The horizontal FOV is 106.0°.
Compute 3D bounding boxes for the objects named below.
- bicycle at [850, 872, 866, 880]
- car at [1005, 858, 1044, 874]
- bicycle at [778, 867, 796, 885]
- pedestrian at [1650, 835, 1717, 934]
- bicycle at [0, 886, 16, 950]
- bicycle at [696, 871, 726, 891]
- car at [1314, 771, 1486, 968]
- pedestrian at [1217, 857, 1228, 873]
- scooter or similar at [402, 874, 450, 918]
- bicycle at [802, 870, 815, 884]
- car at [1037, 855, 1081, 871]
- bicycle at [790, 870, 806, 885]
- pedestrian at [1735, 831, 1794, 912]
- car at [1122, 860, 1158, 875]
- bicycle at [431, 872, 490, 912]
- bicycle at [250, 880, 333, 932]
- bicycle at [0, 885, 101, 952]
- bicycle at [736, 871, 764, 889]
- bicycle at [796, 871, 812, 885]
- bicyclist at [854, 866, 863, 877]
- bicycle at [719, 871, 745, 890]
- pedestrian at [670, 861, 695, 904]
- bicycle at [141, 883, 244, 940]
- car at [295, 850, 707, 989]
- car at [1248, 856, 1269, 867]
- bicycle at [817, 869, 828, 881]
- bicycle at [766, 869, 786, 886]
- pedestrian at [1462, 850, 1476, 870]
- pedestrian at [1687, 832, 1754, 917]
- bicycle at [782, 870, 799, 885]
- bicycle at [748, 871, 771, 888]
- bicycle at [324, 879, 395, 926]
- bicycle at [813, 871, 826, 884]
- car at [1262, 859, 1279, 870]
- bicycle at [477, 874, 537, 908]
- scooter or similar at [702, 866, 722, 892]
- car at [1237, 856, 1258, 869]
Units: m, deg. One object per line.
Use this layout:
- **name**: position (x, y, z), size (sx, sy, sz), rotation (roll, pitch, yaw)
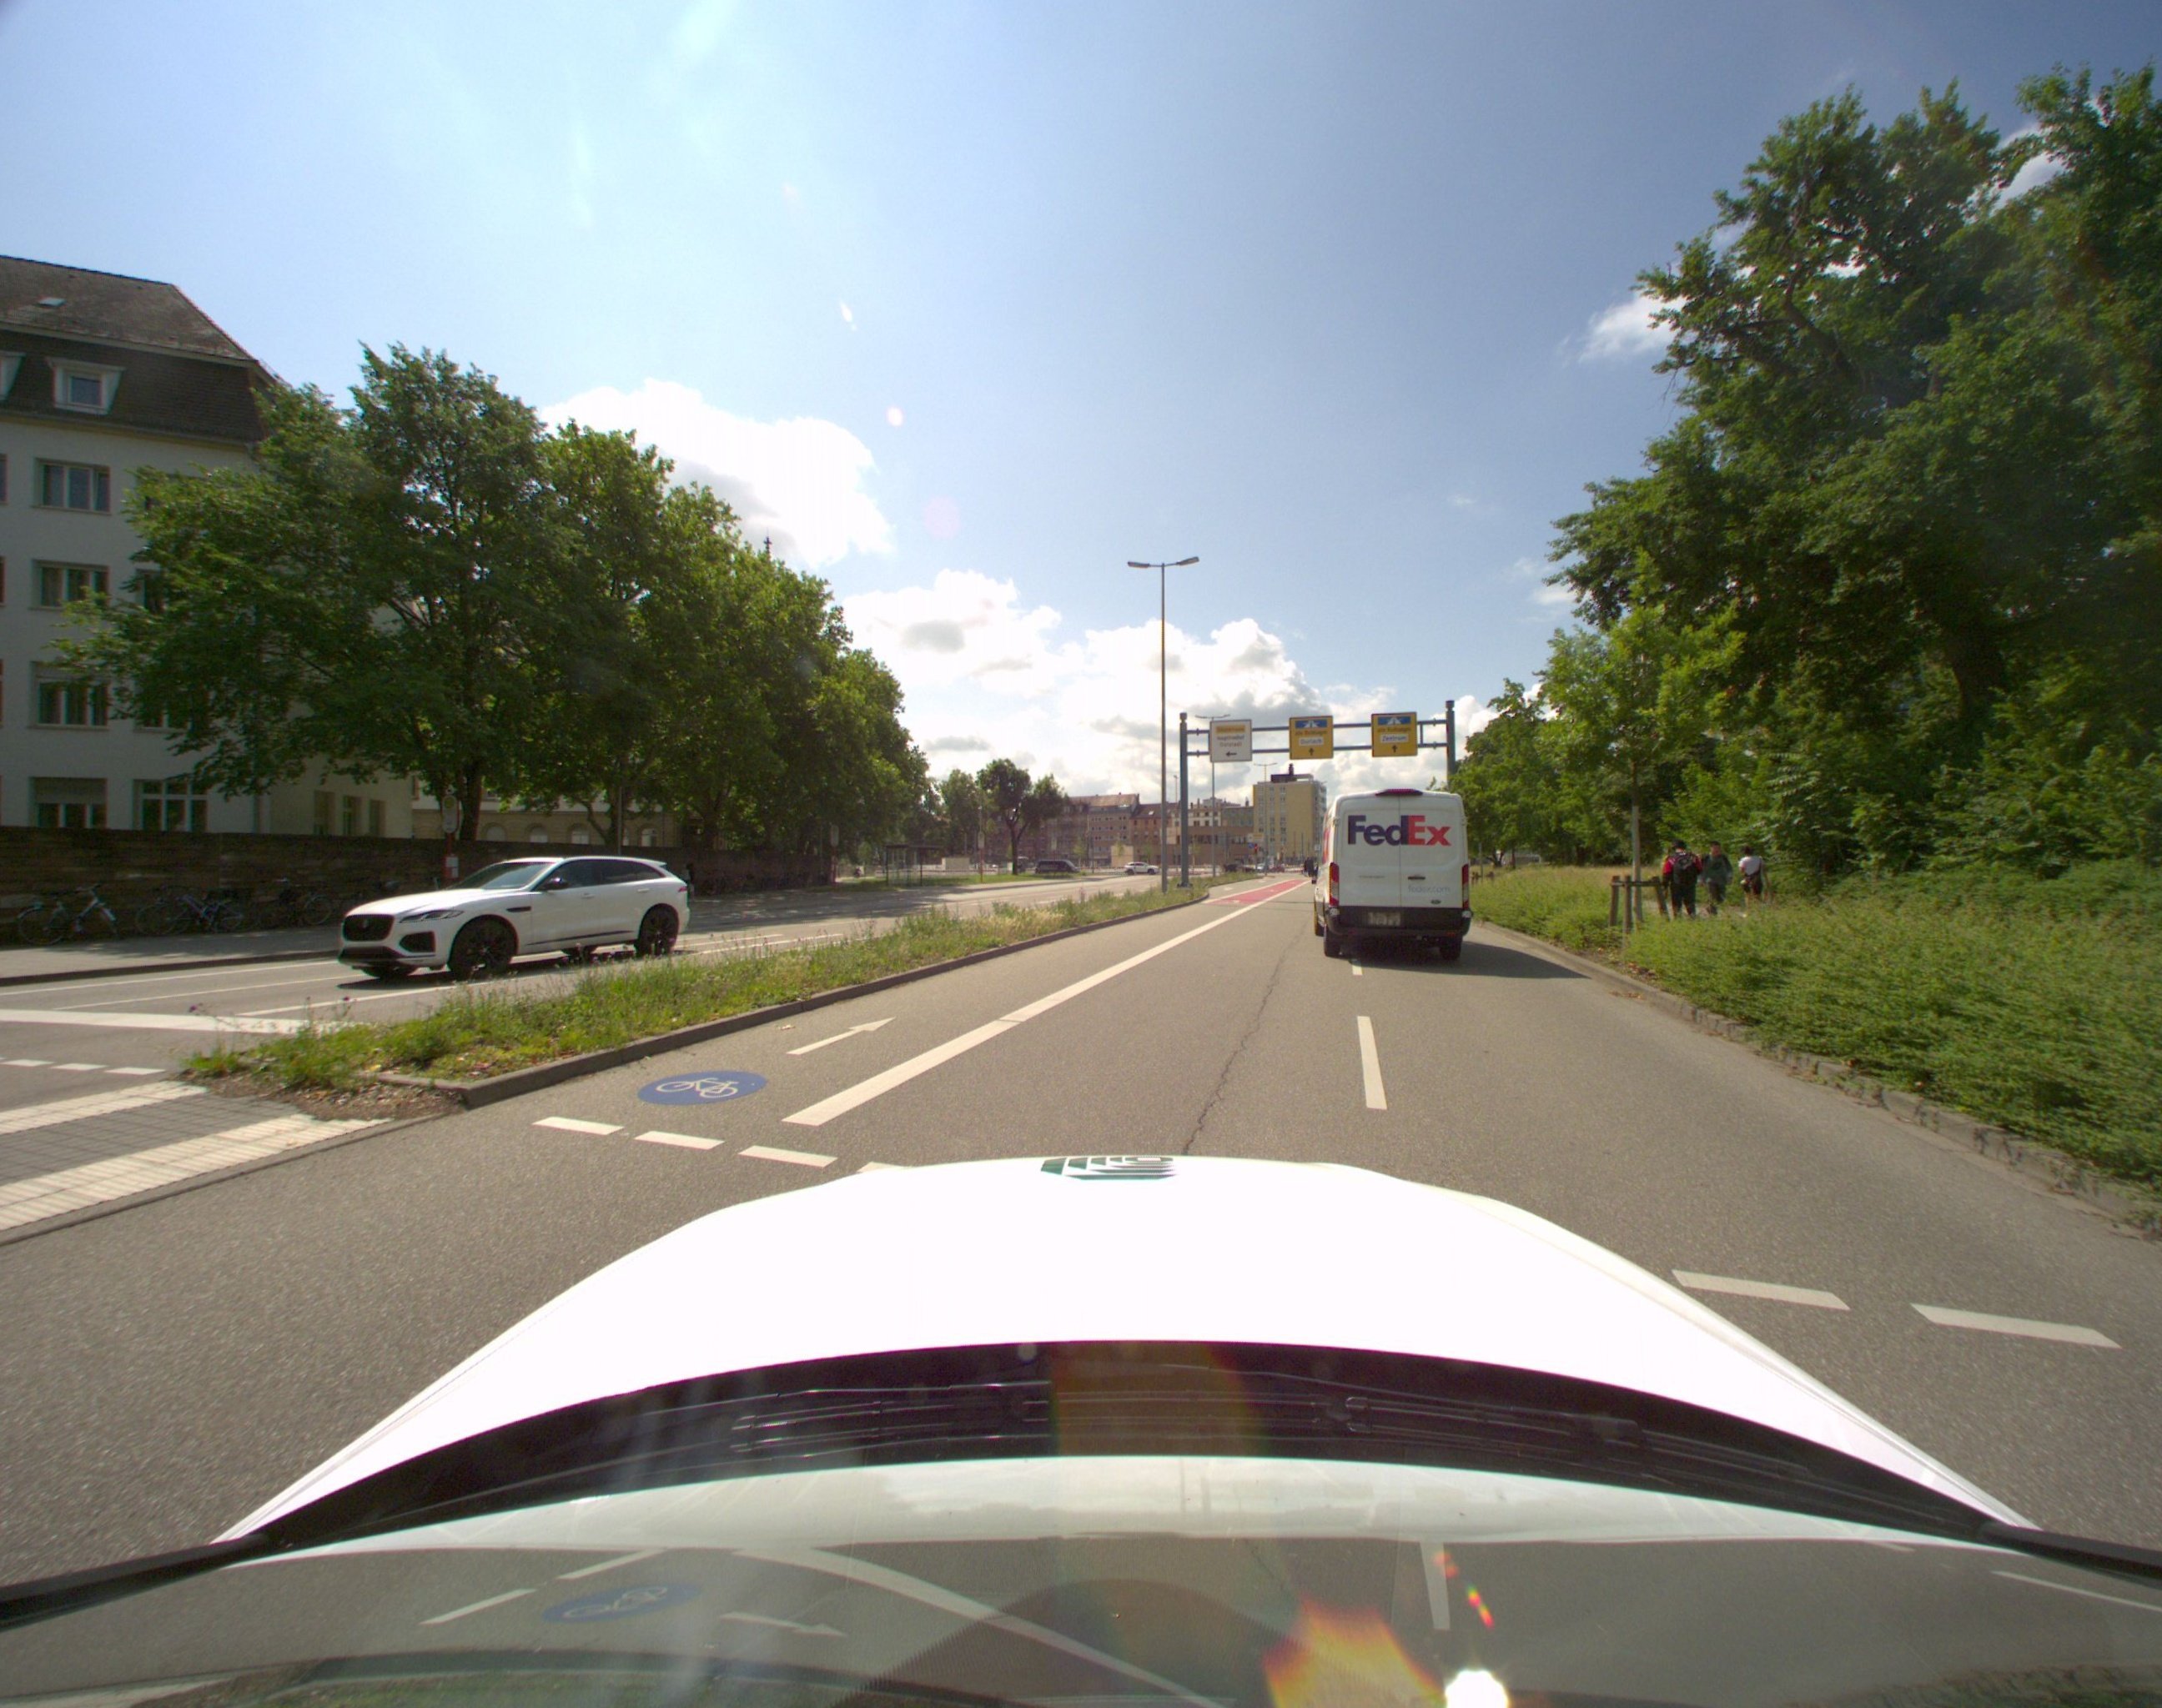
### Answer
- **bicycle**: position (-29.786, 2.892, 108.792), size (1.908, 1.030, 0.549), rotation (-1, 0, 9)
- **car**: position (-7.309, 1.576, 105.672), size (4.597, 2.014, 2.107), rotation (-1, -1, 12)
- **bicycle**: position (-17.805, 1.348, 49.335), size (0.542, 1.051, 1.623), rotation (-1, 0, 0)
- **pedestrian**: position (10.809, 0.535, 14.634), size (0.710, 1.722, 0.841), rotation (-1, -1, 18)
- **bicycle**: position (-19.707, 1.167, 14.261), size (0.402, 1.152, 1.585), rotation (-1, 0, -16)
- **bicycle**: position (-17.604, 1.280, 38.772), size (0.541, 0.902, 1.667), rotation (-1, 0, 5)
- **car**: position (5.163, 0.219, 14.006), size (2.124, 2.652, 5.727), rotation (-1, 0, 15)
- **pedestrian**: position (13.927, 1.089, 80.195), size (0.873, 1.560, 0.554), rotation (-1, -1, -9)
- **scooter or similar**: position (-18.087, 1.149, 22.503), size (0.431, 1.152, 1.191), rotation (-1, 0, -4)
- **bicycle**: position (-18.780, 1.579, 56.161), size (0.451, 0.902, 1.792), rotation (-1, 0, -4)
- **car**: position (-2.692, 1.148, 99.540), size (4.973, 1.879, 1.936), rotation (-1, 0, 13)
- **bicycle**: position (-18.331, 1.504, 52.714), size (0.542, 0.902, 1.663), rotation (-1, 0, -4)
- **pedestrian**: position (14.743, 0.373, 17.592), size (0.717, 1.722, 0.750), rotation (-1, -1, 18)
- **car**: position (7.440, 1.706, 102.498), size (4.327, 1.794, 2.007), rotation (-1, -1, 12)
- **bicycle**: position (-18.602, 1.126, 24.445), size (0.430, 1.143, 1.596), rotation (-1, 0, 5)
- **bicycle**: position (-18.904, 1.216, 19.532), size (0.531, 1.152, 1.591), rotation (-1, 0, -5)
- **bicycle**: position (-19.491, 1.186, 15.401), size (0.402, 1.152, 1.585), rotation (-1, 0, -16)
- **bicycle**: position (-17.455, 1.353, 42.986), size (0.498, 0.902, 1.671), rotation (-1, 0, 13)
- **bicycle**: position (-18.493, 1.608, 54.400), size (0.542, 0.902, 1.663), rotation (-1, 0, -4)
- **bicyclist**: position (-29.723, 2.363, 108.777), size (0.962, 1.474, 0.553), rotation (-1, -1, 9)
- **bicycle**: position (-17.664, 1.349, 41.220), size (0.541, 0.902, 1.666), rotation (-1, 0, 2)
- **pedestrian**: position (-15.408, 1.097, 31.519), size (0.613, 1.617, 0.756), rotation (0, -1, -4)
- **bicycle**: position (-19.407, 1.229, 17.827), size (0.399, 1.152, 1.596), rotation (-1, 0, 5)
- **car**: position (-8.314, 0.800, 12.375), size (2.054, 1.667, 4.797), rotation (-1, 0, 18)
- **car**: position (27.109, 1.177, 124.127), size (1.882, 1.585, 4.025), rotation (-1, -1, 31)
- **bicycle**: position (-19.596, 1.578, 61.735), size (0.543, 0.902, 1.660), rotation (-1, 0, -9)
- **bicycle**: position (-17.819, 1.368, 47.640), size (0.542, 0.951, 1.665), rotation (-1, 0, 0)
- **pedestrian**: position (30.829, 0.467, 64.689), size (0.838, 1.539, 0.839), rotation (-1, -1, 17)
- **pedestrian**: position (13.436, 0.419, 17.144), size (0.807, 1.722, 0.934), rotation (-1, -1, 18)
- **bicycle**: position (-18.189, 1.462, 50.996), size (0.542, 0.902, 1.663), rotation (-1, 0, -4)
- **bicycle**: position (-17.700, 1.393, 44.883), size (0.541, 0.902, 1.666), rotation (-1, 0, 1)
- **bicycle**: position (-18.873, 1.248, 21.339), size (0.531, 1.152, 1.591), rotation (-1, 0, -5)
- **bicycle**: position (-19.174, 1.684, 59.696), size (0.542, 0.902, 1.663), rotation (-1, 0, -4)
- **car**: position (30.204, 1.719, 129.677), size (1.862, 1.652, 4.023), rotation (-1, -1, 25)
- **bicycle**: position (-18.410, 1.179, 26.168), size (0.477, 1.008, 1.805), rotation (-1, 0, 8)
- **scooter or similar**: position (-16.993, 1.138, 37.492), size (0.431, 1.183, 1.191), rotation (-1, 0, -4)
- **car**: position (25.863, 1.320, 126.573), size (1.974, 2.014, 4.025), rotation (-1, -1, 31)
